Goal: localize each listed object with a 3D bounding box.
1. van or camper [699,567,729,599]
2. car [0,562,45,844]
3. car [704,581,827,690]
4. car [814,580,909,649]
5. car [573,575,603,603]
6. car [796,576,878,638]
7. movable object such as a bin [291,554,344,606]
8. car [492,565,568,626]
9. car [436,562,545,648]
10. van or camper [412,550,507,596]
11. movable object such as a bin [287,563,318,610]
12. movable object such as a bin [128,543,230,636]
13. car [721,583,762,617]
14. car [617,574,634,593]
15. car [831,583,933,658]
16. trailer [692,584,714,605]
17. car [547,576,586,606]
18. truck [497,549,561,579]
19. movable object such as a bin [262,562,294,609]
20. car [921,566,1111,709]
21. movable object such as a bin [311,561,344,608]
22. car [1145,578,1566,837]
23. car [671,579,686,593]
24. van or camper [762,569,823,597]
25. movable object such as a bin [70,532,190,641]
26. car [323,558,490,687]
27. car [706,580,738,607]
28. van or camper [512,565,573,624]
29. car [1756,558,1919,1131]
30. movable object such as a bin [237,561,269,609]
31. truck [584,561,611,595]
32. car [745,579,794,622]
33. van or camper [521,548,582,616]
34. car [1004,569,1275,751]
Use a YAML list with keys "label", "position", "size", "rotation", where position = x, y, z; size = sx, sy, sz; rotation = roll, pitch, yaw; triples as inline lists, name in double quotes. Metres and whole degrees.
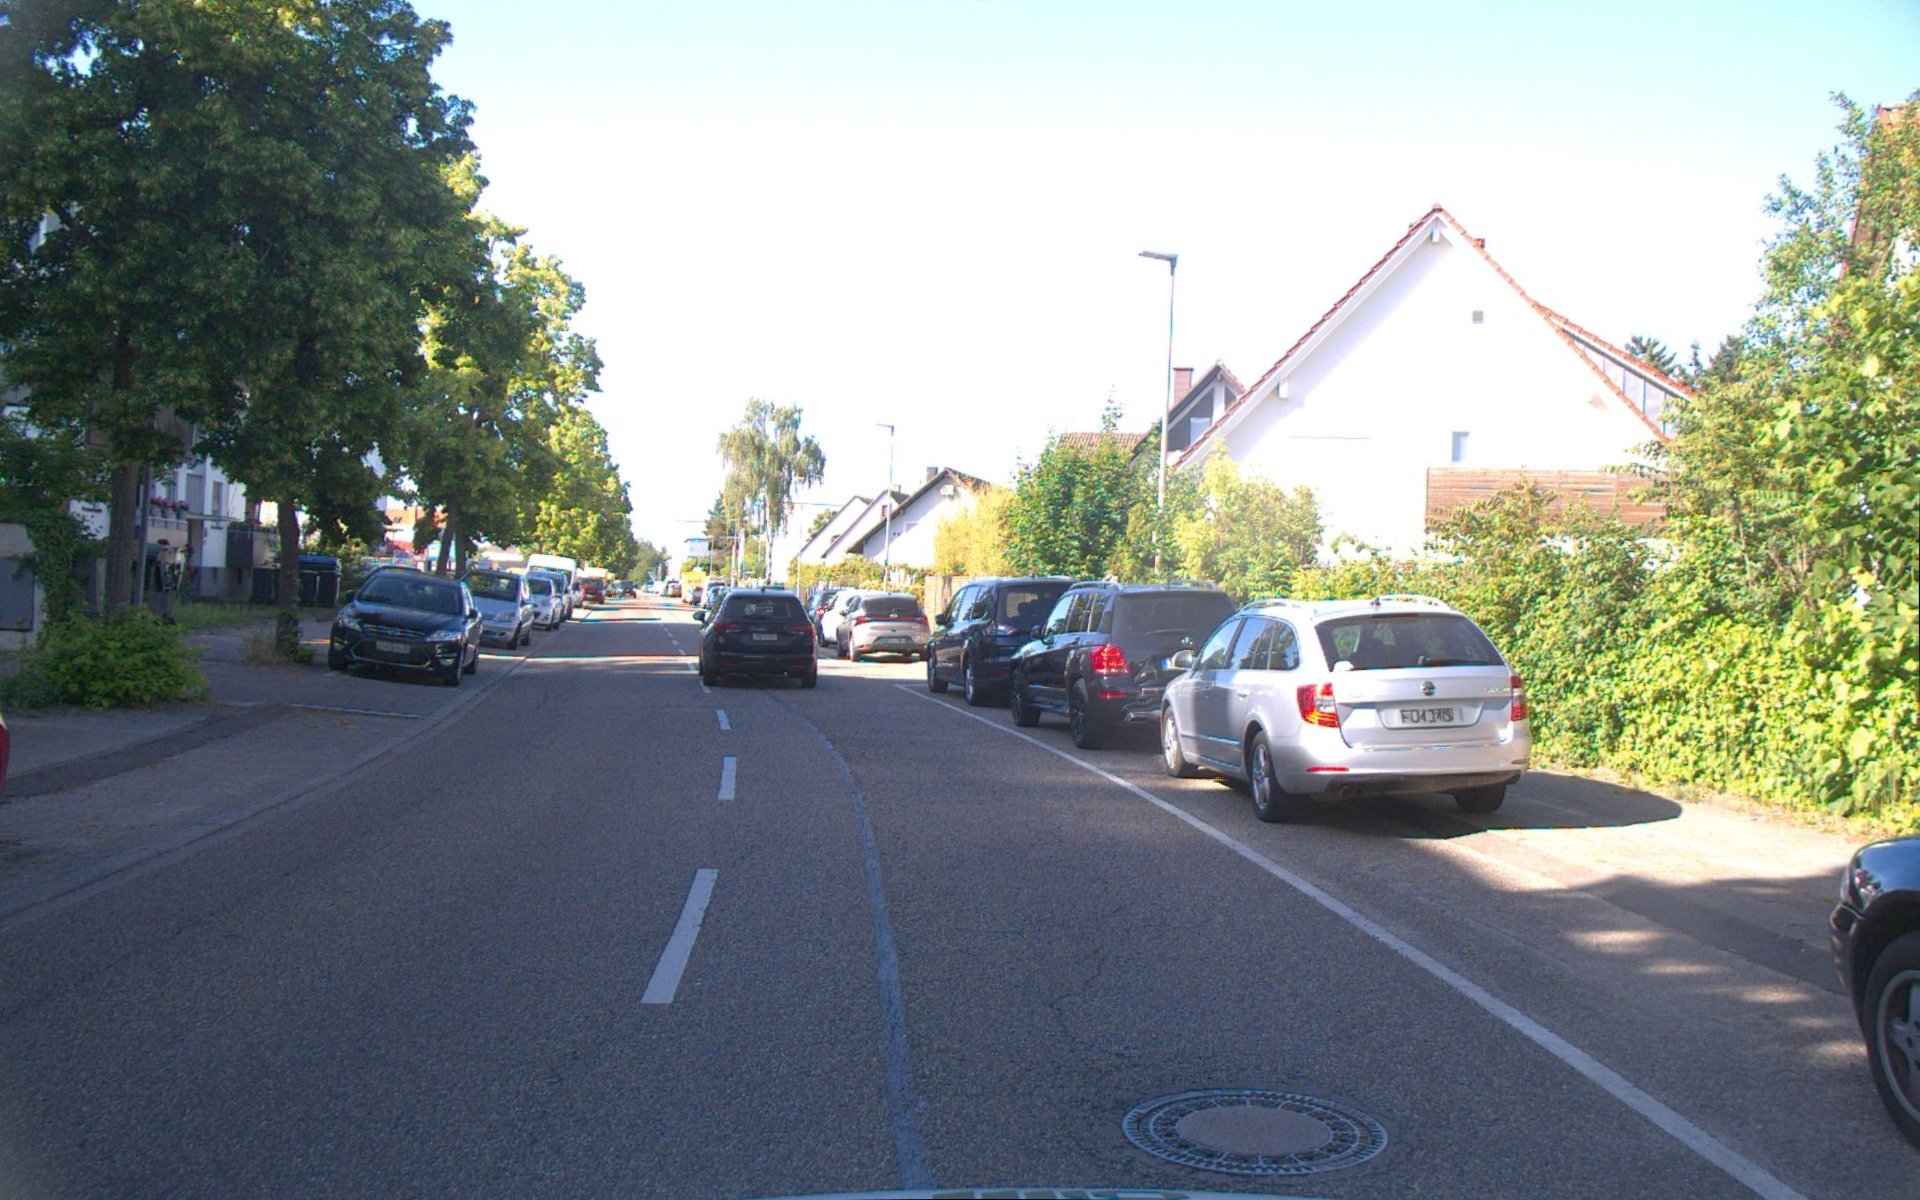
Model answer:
- label: "van or camper"
  position: [-15.986, -1.092, 107.382]
  size: [1.688, 1.923, 4.168]
  rotation: [3, 0, -11]
- label: "car"
  position: [-5.883, 0.500, 7.195]
  size: [1.624, 1.519, 3.907]
  rotation: [6, 0, -2]
- label: "car"
  position: [-3.152, 0.504, 26.242]
  size: [1.681, 1.559, 3.678]
  rotation: [2, 0, -10]
- label: "car"
  position: [-2.614, 0.334, 43.069]
  size: [1.695, 1.628, 3.801]
  rotation: [3, 0, -15]
- label: "car"
  position: [-26.020, -0.782, 115.693]
  size: [1.772, 1.782, 4.330]
  rotation: [4, 0, -11]
- label: "car"
  position: [-3.573, 0.174, 47.576]
  size: [1.629, 1.628, 3.801]
  rotation: [3, 0, -15]
- label: "movable object such as a bin"
  position: [-19.333, -0.608, 49.827]
  size: [1.208, 1.508, 1.113]
  rotation: [2, 0, -9]
- label: "car"
  position: [-12.693, -0.146, 49.002]
  size: [1.662, 1.593, 3.899]
  rotation: [5, 0, -9]
- label: "car"
  position: [-10.423, 0.099, 36.982]
  size: [1.691, 1.620, 3.900]
  rotation: [8, -1, -9]
- label: "van or camper"
  position: [-29.463, -1.583, 97.507]
  size: [4.792, 2.361, 2.244]
  rotation: [3, -1, 1]
- label: "movable object such as a bin"
  position: [-18.599, -0.390, 46.784]
  size: [0.627, 1.301, 0.670]
  rotation: [2, 0, -9]
- label: "movable object such as a bin"
  position: [-13.866, -0.184, 29.421]
  size: [1.266, 1.570, 1.324]
  rotation: [2, 0, -10]
- label: "car"
  position: [-11.675, -0.021, 88.257]
  size: [1.745, 1.687, 3.804]
  rotation: [3, 0, -13]
- label: "car"
  position: [-37.348, -1.798, 184.719]
  size: [1.860, 2.067, 4.805]
  rotation: [1, 0, -11]
- label: "car"
  position: [-1.795, 0.413, 36.855]
  size: [1.613, 1.520, 3.878]
  rotation: [2, 0, -12]
- label: "trailer"
  position: [-20.083, -0.437, 129.227]
  size: [1.598, 1.565, 3.190]
  rotation: [2, 0, -10]
- label: "car"
  position: [-21.175, -0.478, 89.144]
  size: [1.656, 1.460, 4.200]
  rotation: [5, 0, -9]
- label: "truck"
  position: [-43.598, -3.628, 167.432]
  size: [5.801, 2.612, 2.223]
  rotation: [4, 0, 0]
- label: "movable object such as a bin"
  position: [-19.251, -0.406, 46.683]
  size: [0.627, 1.301, 0.670]
  rotation: [2, 0, -9]
- label: "car"
  position: [0.705, 0.477, 24.109]
  size: [1.712, 1.844, 4.416]
  rotation: [2, 0, -12]
- label: "movable object such as a bin"
  position: [-17.929, -0.439, 46.889]
  size: [0.674, 1.301, 0.670]
  rotation: [2, 0, -9]
- label: "car"
  position: [2.764, 0.665, 12.757]
  size: [1.728, 1.591, 4.657]
  rotation: [2, 0, -5]
- label: "car"
  position: [-39.431, -1.982, 231.559]
  size: [1.885, 1.857, 4.069]
  rotation: [2, 0, -11]
- label: "van or camper"
  position: [-16.899, -1.686, 167.277]
  size: [5.774, 2.585, 2.258]
  rotation: [2, 0, -39]
- label: "movable object such as a bin"
  position: [-13.611, -0.226, 27.176]
  size: [1.387, 1.691, 1.264]
  rotation: [2, 0, -10]
- label: "car"
  position: [-8.068, 0.279, 24.465]
  size: [1.693, 1.519, 4.529]
  rotation: [8, -1, -13]
- label: "car"
  position: [-14.664, -0.406, 101.802]
  size: [1.688, 1.531, 3.554]
  rotation: [3, 0, -11]
- label: "van or camper"
  position: [-15.552, -0.222, 61.723]
  size: [1.844, 2.048, 4.268]
  rotation: [3, 0, -11]
- label: "car"
  position: [3.547, 0.715, 3.270]
  size: [1.620, 1.591, 4.463]
  rotation: [2, 0, -2]
- label: "movable object such as a bin"
  position: [-19.907, -0.423, 46.591]
  size: [0.627, 1.301, 0.670]
  rotation: [2, 0, -9]
- label: "truck"
  position: [-35.573, -2.129, 162.238]
  size: [2.361, 3.034, 7.223]
  rotation: [4, -1, -12]
- label: "car"
  position: [-8.004, -0.005, 69.322]
  size: [1.744, 1.687, 4.293]
  rotation: [3, 0, -10]
- label: "van or camper"
  position: [-16.897, -0.729, 68.599]
  size: [2.086, 2.533, 5.539]
  rotation: [5, 0, -12]
- label: "car"
  position: [1.798, 0.559, 18.074]
  size: [1.731, 1.705, 4.383]
  rotation: [2, 0, -10]
